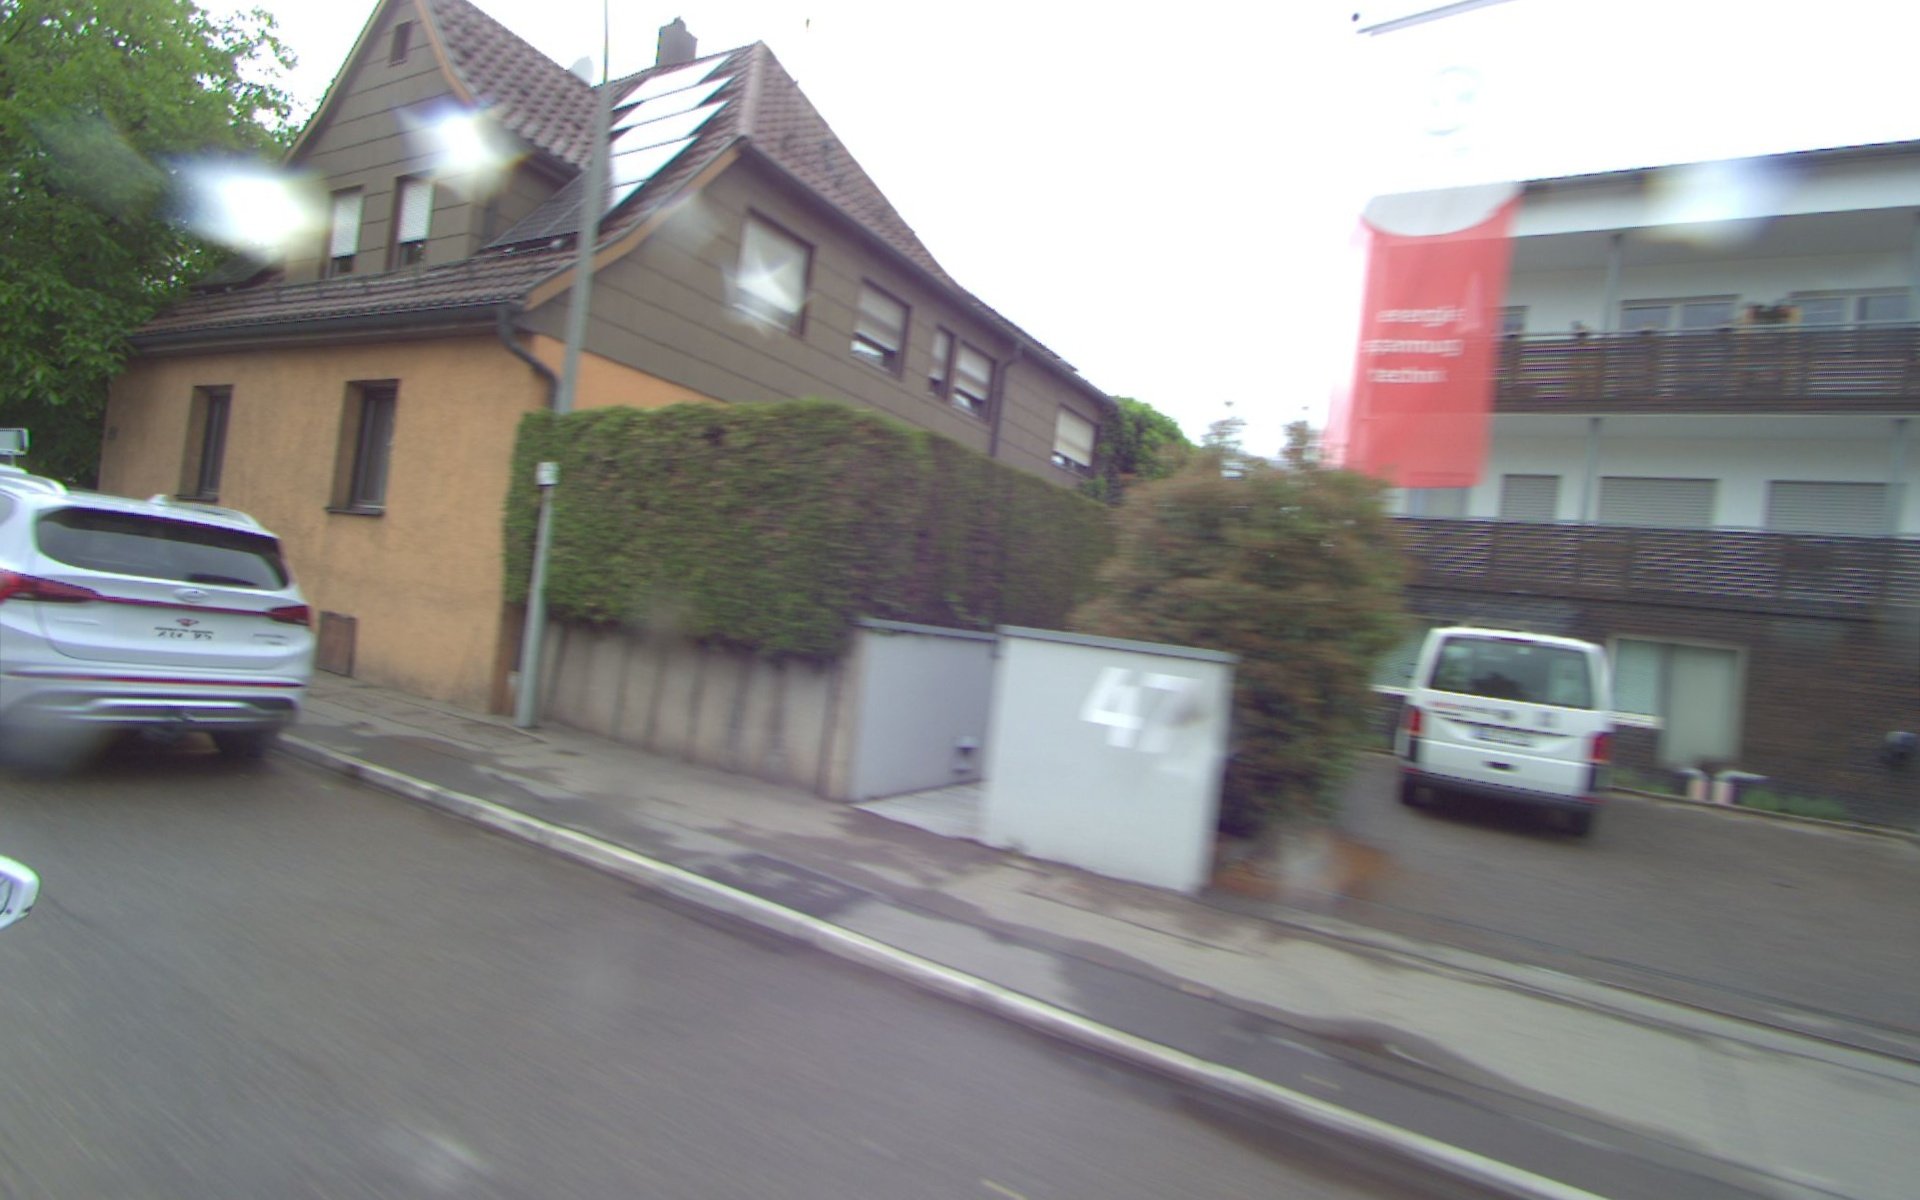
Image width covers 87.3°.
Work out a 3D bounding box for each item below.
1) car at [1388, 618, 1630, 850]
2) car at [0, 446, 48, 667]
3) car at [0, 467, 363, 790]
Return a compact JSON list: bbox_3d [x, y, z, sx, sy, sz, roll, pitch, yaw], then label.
[{"bbox_3d":[6.265,1.322,11.565,1.829,1.924,4.465,7,1,29],"label":"car"},{"bbox_3d":[-11.289,-0.746,10.200,4.677,2.052,1.781,8,-2,34],"label":"car"},{"bbox_3d":[-6.400,0.027,7.054,4.248,1.684,1.870,7,-2,31],"label":"car"}]
